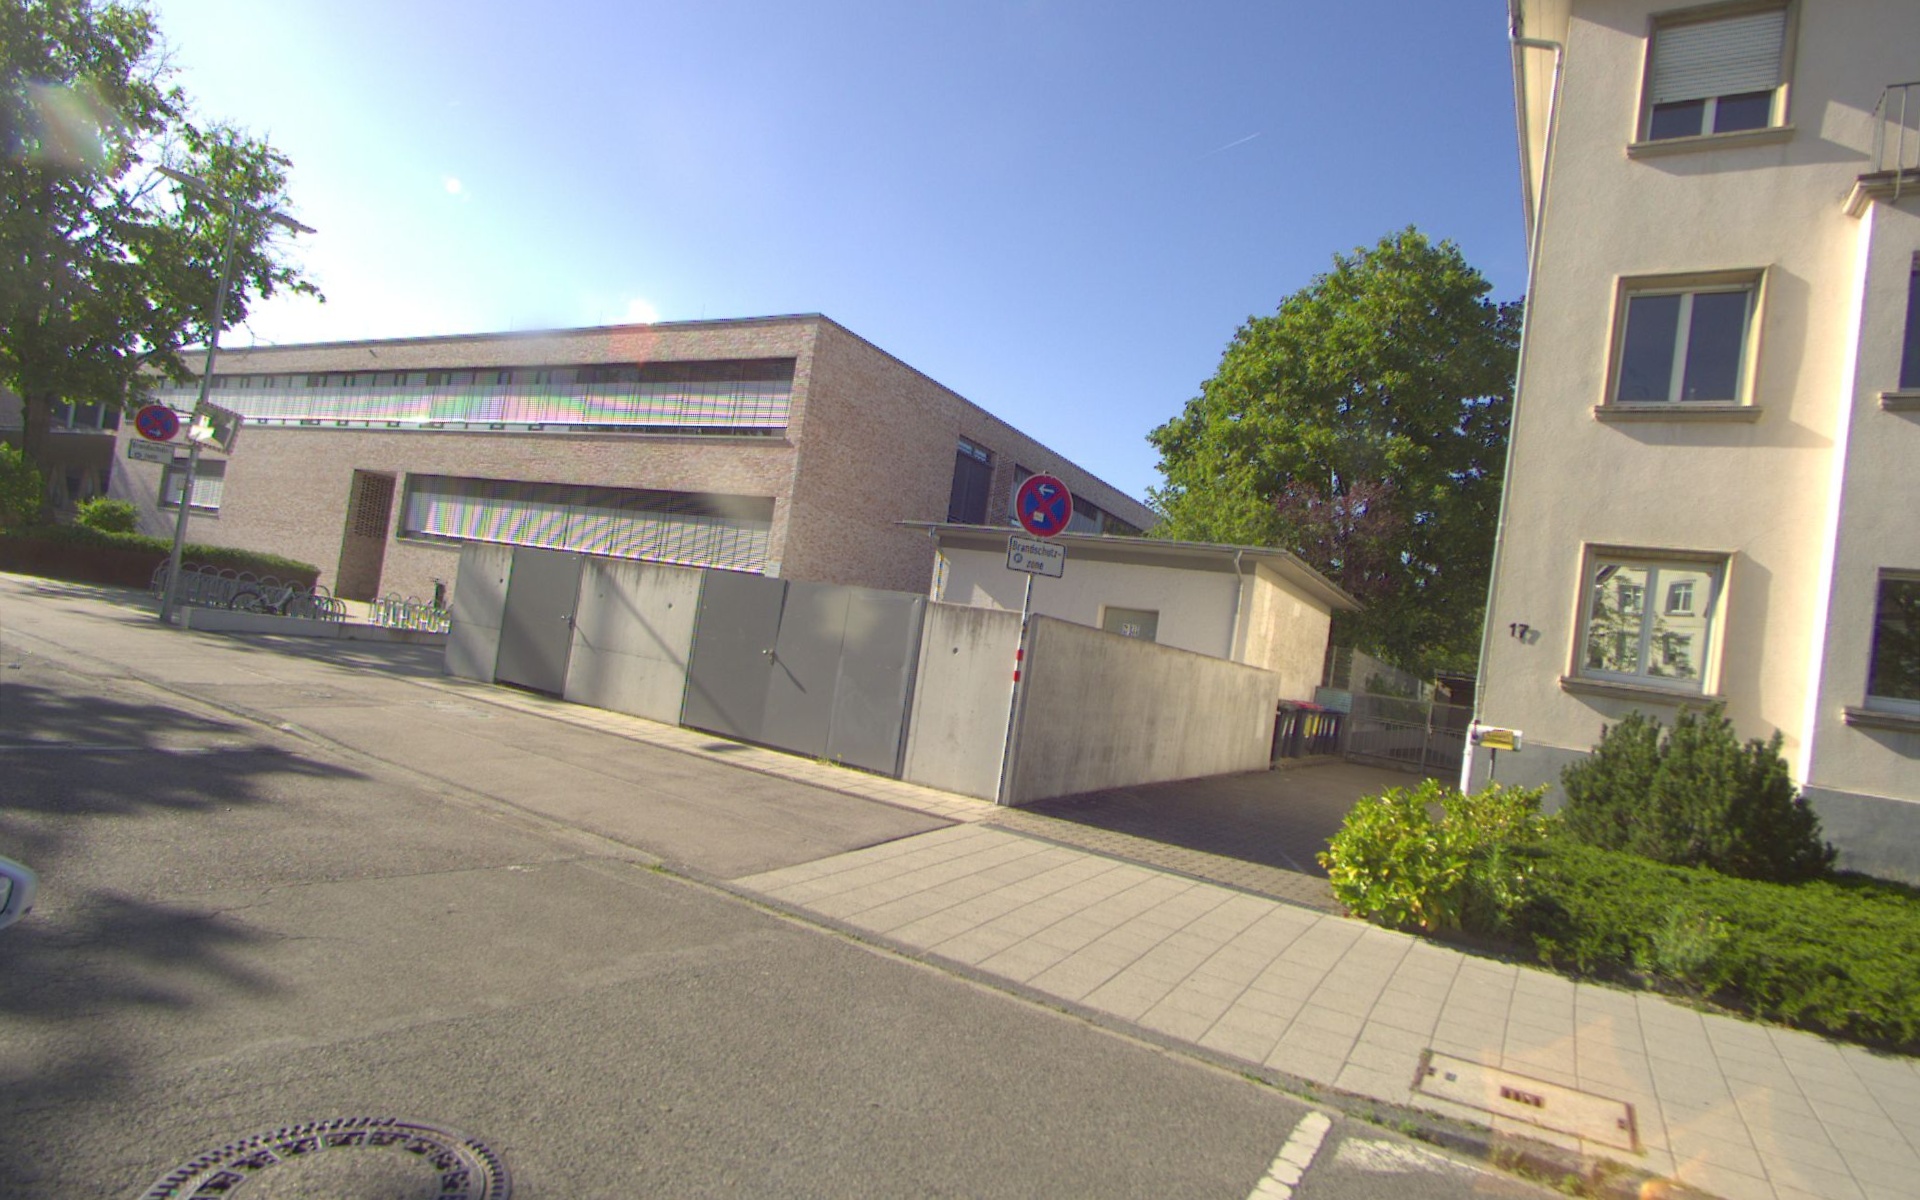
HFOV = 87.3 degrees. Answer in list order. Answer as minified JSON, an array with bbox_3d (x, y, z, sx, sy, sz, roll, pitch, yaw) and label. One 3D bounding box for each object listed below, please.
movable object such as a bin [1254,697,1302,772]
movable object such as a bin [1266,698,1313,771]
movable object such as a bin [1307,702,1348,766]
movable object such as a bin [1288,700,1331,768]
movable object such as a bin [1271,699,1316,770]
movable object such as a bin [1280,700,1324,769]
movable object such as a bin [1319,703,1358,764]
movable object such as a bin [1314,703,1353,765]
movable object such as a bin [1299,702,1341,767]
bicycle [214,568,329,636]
[{"bbox_3d":[5.628,2.373,17.784,0.583,1.226,0.489,7,-1,32],"label":"movable object such as a bin"},{"bbox_3d":[5.998,2.451,18.326,0.583,1.226,0.489,7,-1,32],"label":"movable object such as a bin"},{"bbox_3d":[7.680,2.792,21.033,0.583,1.226,0.489,7,-1,32],"label":"movable object such as a bin"},{"bbox_3d":[6.885,2.634,19.829,0.583,1.226,0.489,7,-1,32],"label":"movable object such as a bin"},{"bbox_3d":[6.240,2.503,18.808,0.583,1.226,0.489,7,-1,32],"label":"movable object such as a bin"},{"bbox_3d":[6.566,2.569,19.316,0.583,1.226,0.489,7,-1,32],"label":"movable object such as a bin"},{"bbox_3d":[8.313,2.923,22.100,0.583,1.226,0.489,7,-1,32],"label":"movable object such as a bin"},{"bbox_3d":[8.025,2.863,21.609,0.583,1.226,0.489,7,-1,32],"label":"movable object such as a bin"},{"bbox_3d":[7.324,2.719,20.443,0.583,1.226,0.489,7,-1,32],"label":"movable object such as a bin"},{"bbox_3d":[-13.389,0.058,19.619,0.491,1.040,1.675,7,-4,30],"label":"bicycle"}]
